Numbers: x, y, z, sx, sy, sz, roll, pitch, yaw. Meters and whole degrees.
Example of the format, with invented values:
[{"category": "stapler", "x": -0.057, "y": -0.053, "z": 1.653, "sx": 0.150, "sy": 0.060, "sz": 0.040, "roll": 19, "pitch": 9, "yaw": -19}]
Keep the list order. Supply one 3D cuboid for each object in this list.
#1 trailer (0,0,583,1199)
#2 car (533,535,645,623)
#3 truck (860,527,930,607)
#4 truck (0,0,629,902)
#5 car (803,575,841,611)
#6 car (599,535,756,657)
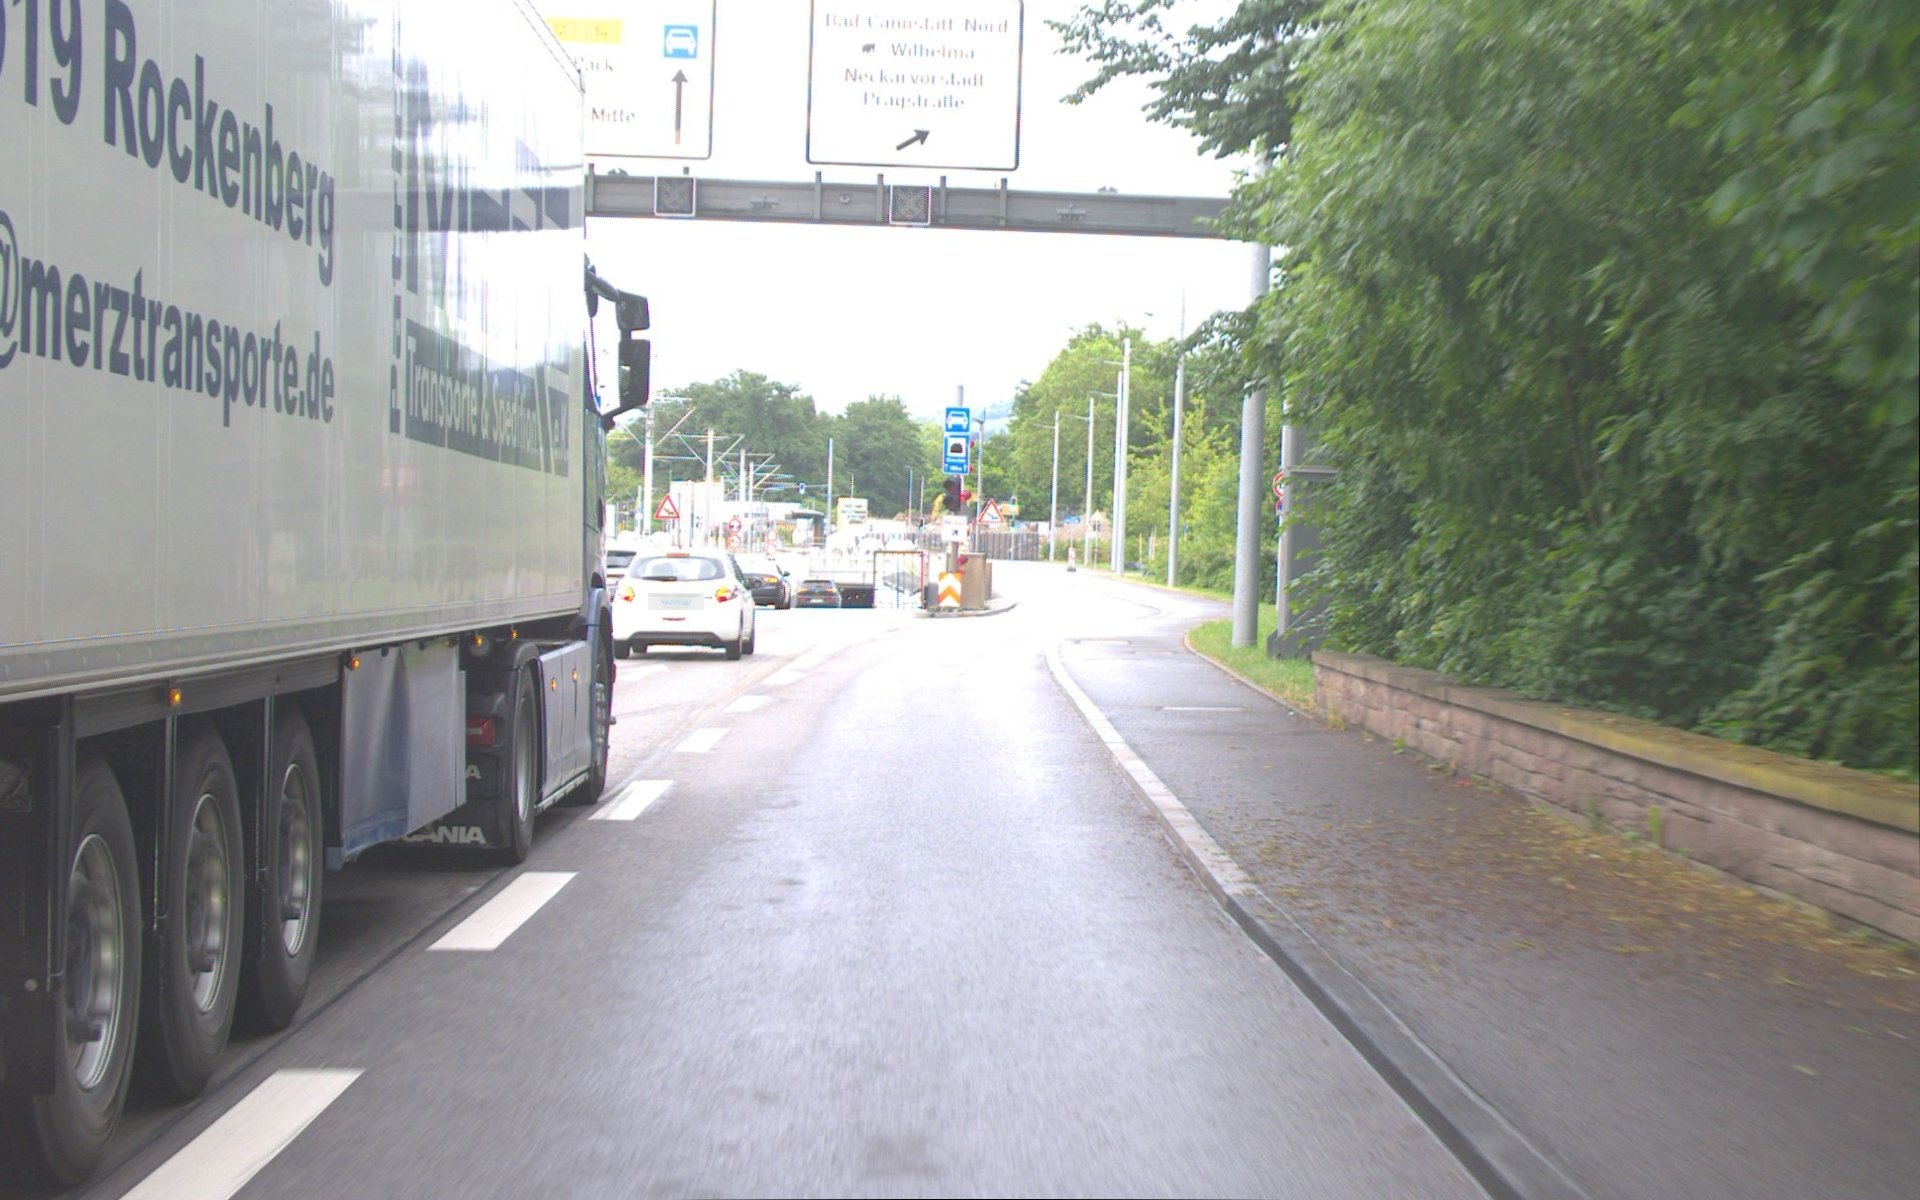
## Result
[{"category": "trailer", "x": -3.254, "y": -0.756, "z": 11.235, "sx": 2.762, "sy": 4.238, "sz": 13.184, "roll": 0, "pitch": 1, "yaw": -1}, {"category": "car", "x": -6.847, "y": -0.415, "z": 63.747, "sx": 1.681, "sy": 1.441, "sz": 4.001, "roll": 1, "pitch": 3, "yaw": -1}, {"category": "truck", "x": -3.347, "y": -1.730, "z": 179.463, "sx": 3.518, "sy": 4.026, "sz": 8.074, "roll": 1, "pitch": 1, "yaw": -1}, {"category": "truck", "x": -3.337, "y": -0.901, "z": 17.505, "sx": 2.756, "sy": 4.190, "sz": 6.307, "roll": 0, "pitch": 1, "yaw": -1}, {"category": "car", "x": -5.543, "y": -0.301, "z": 138.140, "sx": 1.426, "sy": 1.349, "sz": 2.960, "roll": 1, "pitch": 1, "yaw": -1}, {"category": "car", "x": -3.730, "y": -0.088, "z": 46.012, "sx": 1.810, "sy": 1.419, "sz": 4.001, "roll": 1, "pitch": 3, "yaw": -1}]
